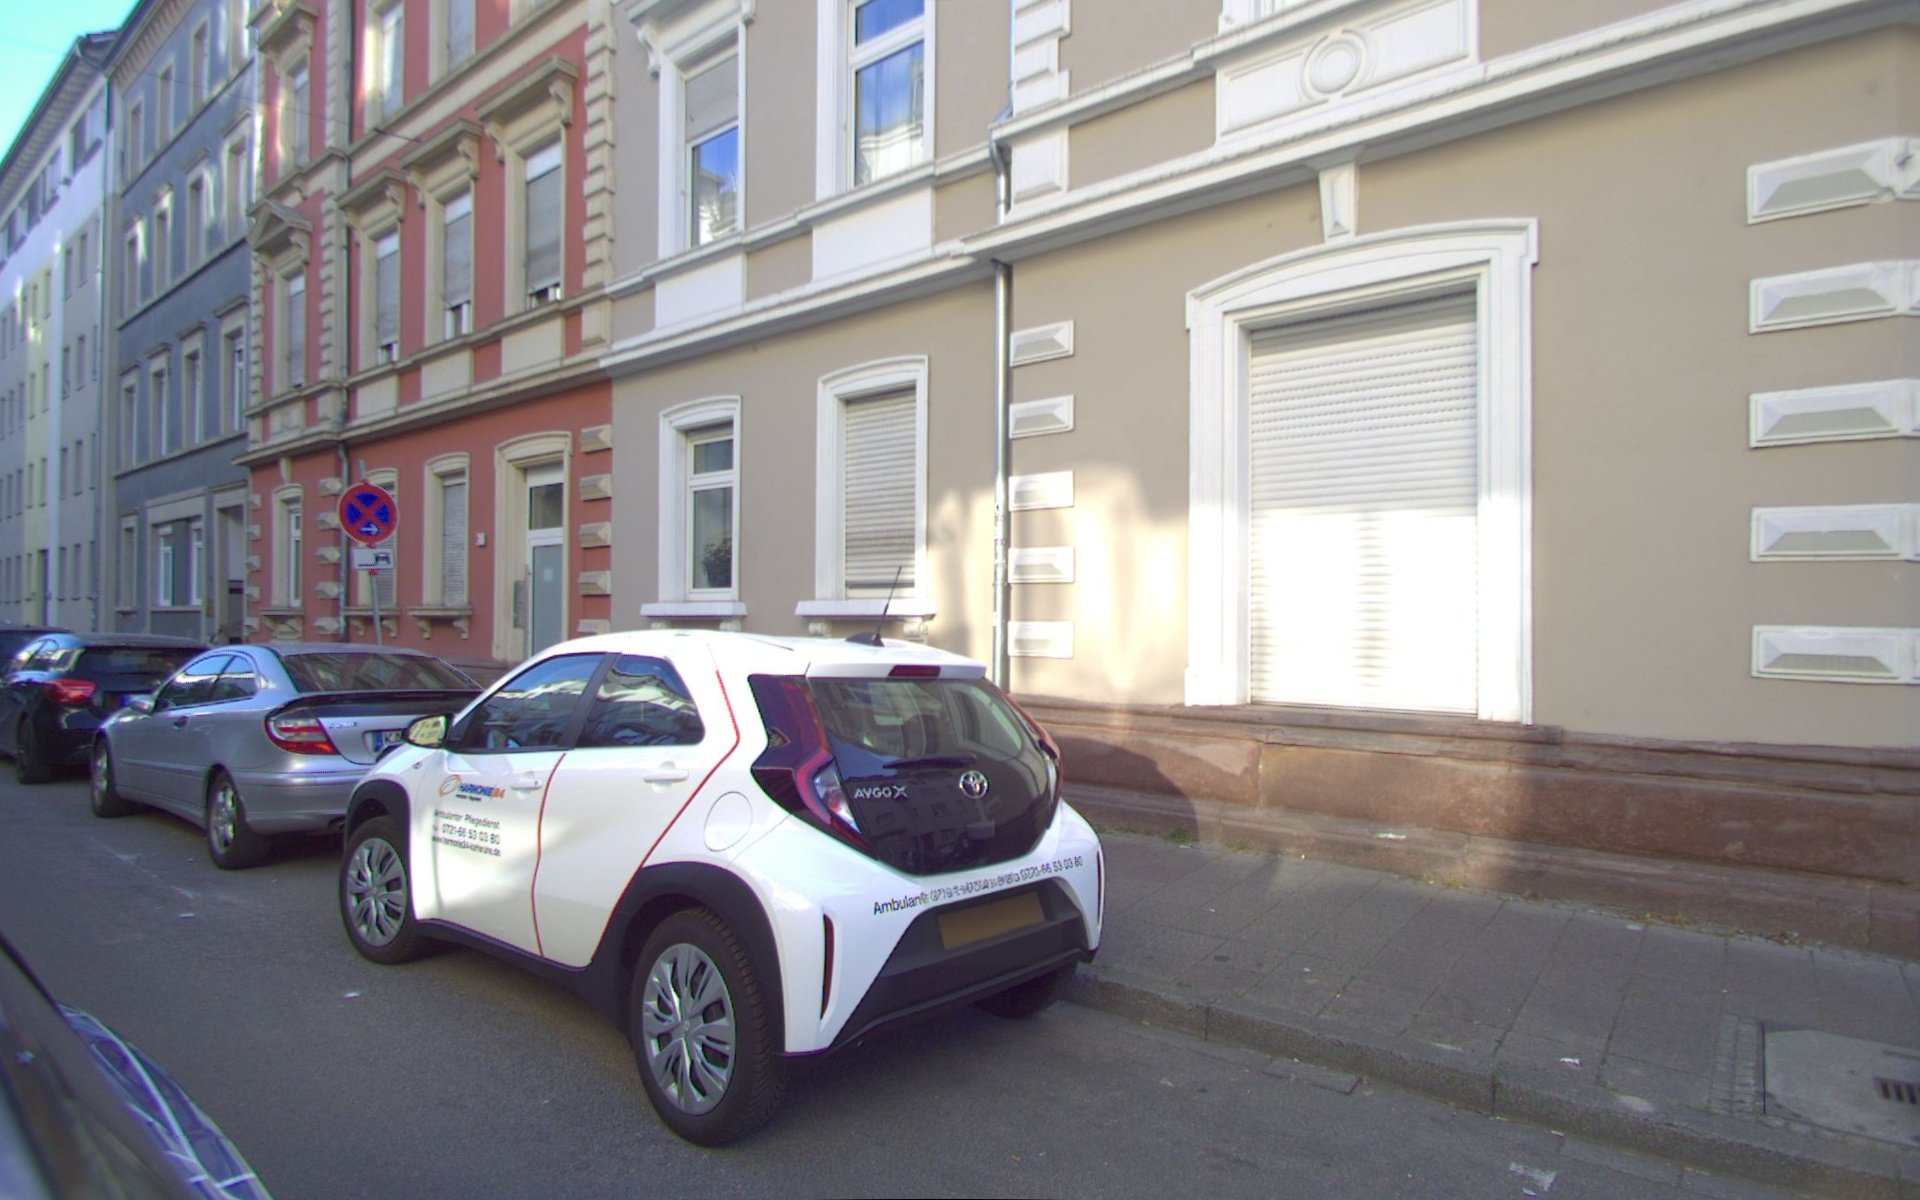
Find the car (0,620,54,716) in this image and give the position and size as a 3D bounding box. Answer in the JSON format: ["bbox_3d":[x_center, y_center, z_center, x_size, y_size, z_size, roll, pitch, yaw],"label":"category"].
[{"bbox_3d":[-17.687,1.144,17.731,4.260,1.572,1.902,-1,-4,38],"label":"car"}]

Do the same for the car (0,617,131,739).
[{"bbox_3d":[-13.910,1.076,14.747,4.234,1.572,1.883,-1,-4,38],"label":"car"}]

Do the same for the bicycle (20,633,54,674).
[{"bbox_3d":[-25.513,1.459,27.959,1.750,1.082,0.446,-1,-1,39],"label":"bicycle"}]

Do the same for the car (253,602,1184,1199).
[{"bbox_3d":[-1.365,0.864,4.563,4.263,1.519,1.901,-2,-4,40],"label":"car"}]

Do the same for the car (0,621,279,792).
[{"bbox_3d":[-9.294,1.027,10.961,4.260,1.495,1.902,-1,-4,38],"label":"car"}]

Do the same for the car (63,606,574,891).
[{"bbox_3d":[-5.004,0.916,7.691,4.260,1.572,1.902,-1,-4,38],"label":"car"}]
